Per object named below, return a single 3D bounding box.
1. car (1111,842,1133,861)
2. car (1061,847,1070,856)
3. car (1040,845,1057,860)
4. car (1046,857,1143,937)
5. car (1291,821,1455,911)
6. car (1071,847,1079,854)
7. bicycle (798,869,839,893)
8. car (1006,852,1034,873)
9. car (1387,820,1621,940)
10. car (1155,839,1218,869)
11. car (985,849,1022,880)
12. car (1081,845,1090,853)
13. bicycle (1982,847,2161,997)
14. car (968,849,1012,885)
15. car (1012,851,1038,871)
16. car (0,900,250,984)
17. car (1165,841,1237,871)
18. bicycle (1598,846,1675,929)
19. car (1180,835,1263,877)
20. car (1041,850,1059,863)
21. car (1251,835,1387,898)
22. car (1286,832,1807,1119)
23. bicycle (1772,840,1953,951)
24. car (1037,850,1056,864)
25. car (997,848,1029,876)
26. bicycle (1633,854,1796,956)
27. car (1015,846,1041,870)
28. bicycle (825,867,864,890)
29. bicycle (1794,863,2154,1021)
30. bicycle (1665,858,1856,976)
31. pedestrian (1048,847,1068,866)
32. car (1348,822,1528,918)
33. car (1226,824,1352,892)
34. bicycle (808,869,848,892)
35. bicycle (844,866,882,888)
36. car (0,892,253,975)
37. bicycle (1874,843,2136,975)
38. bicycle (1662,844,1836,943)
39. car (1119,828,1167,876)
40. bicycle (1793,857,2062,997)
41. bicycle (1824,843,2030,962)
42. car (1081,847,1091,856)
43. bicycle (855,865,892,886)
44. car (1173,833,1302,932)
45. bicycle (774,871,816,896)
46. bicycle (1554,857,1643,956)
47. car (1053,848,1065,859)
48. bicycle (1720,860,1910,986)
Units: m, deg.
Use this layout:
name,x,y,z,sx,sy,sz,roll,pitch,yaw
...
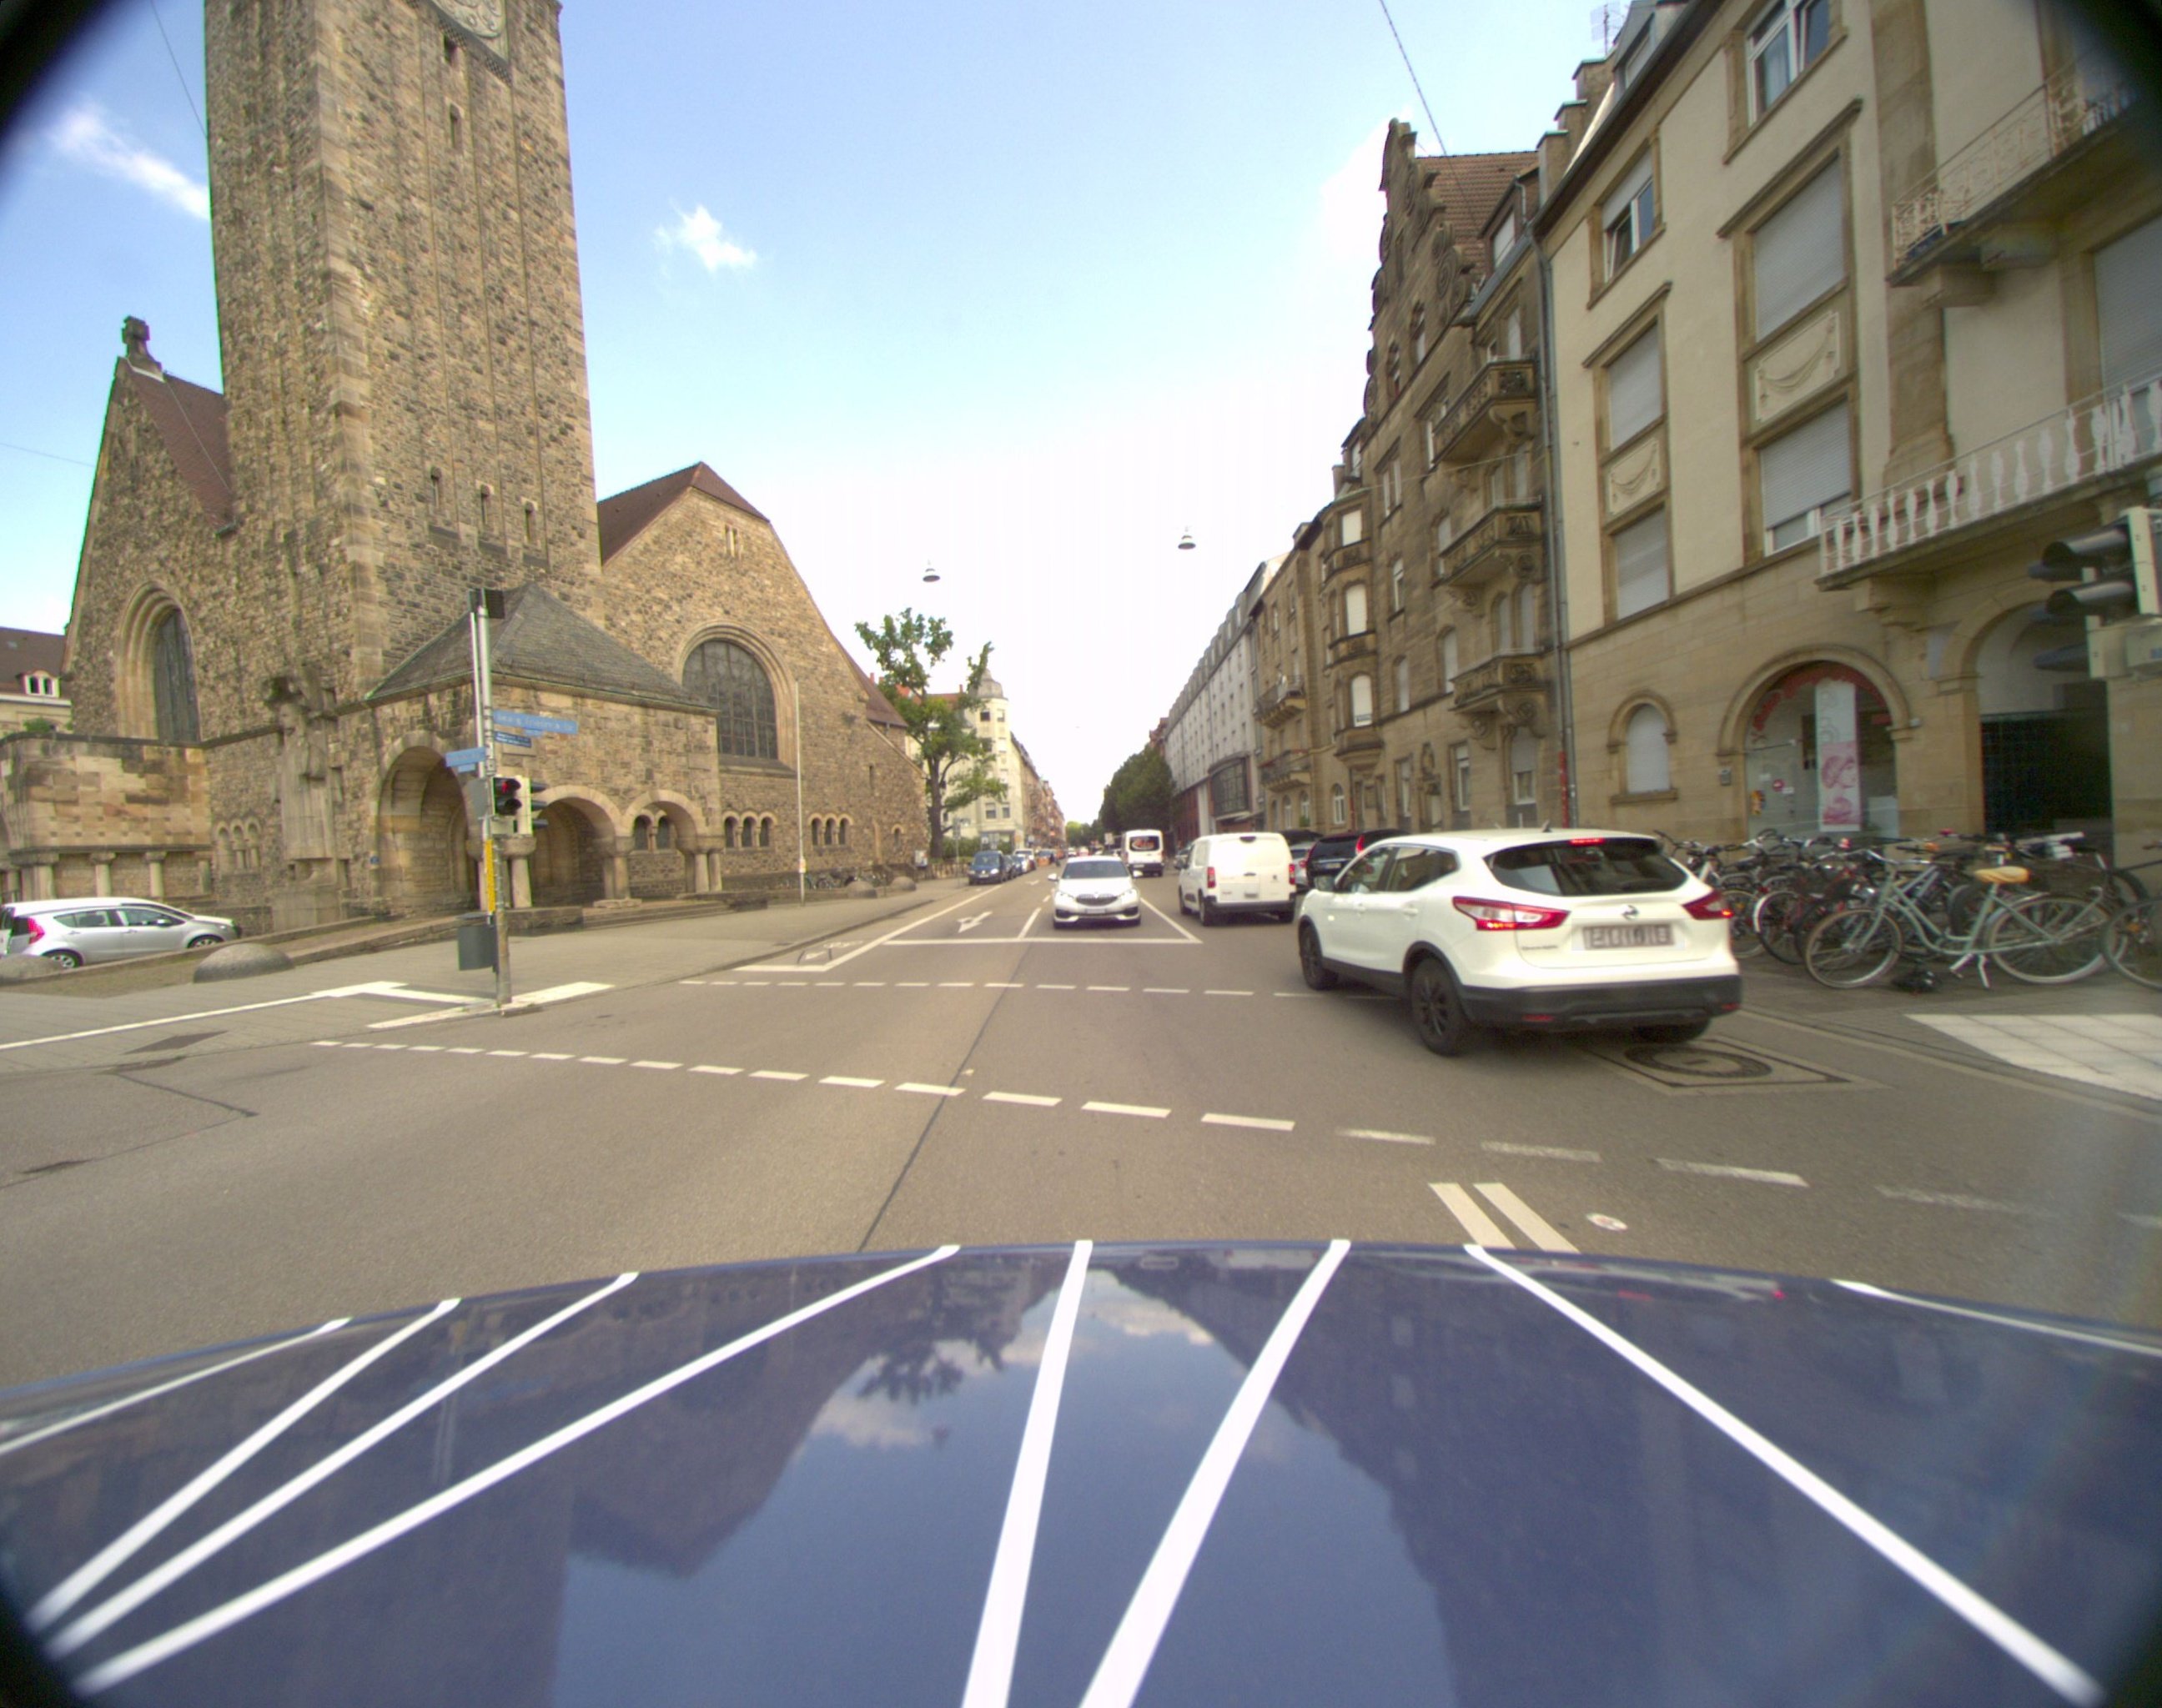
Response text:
name,x,y,z,sx,sy,sz,roll,pitch,yaw
car,3.880,-0.276,72.996,1.891,1.641,3.890,-3,1,2
car,-3.420,-0.503,167.147,1.809,1.756,4.186,-3,1,2
car,-4.258,-0.211,100.447,1.809,1.756,4.186,-3,1,2
car,0.324,0.844,16.910,1.826,1.440,4.386,-2,1,2
car,7.124,0.259,18.405,3.960,1.680,1.799,-7,0,-39
car,-1.492,-0.910,183.313,1.809,1.654,4.186,-3,1,2
bicycle,-12.874,1.328,37.213,1.935,1.106,0.587,0,3,22
car,-4.660,0.631,58.251,1.683,1.438,3.798,-3,1,2
car,7.065,0.369,12.546,4.006,1.448,1.808,-6,1,-37
car,6.965,-0.032,49.924,3.960,1.576,1.727,-6,0,-39
car,-4.781,0.615,47.136,1.683,1.780,4.000,-3,1,2
car,0.932,-1.065,160.519,1.809,1.590,4.186,-3,1,2
bicycle,8.352,0.510,6.019,1.612,1.046,0.481,-5,1,8
car,-4.959,0.651,41.946,1.683,1.780,4.145,-3,1,2
car,-4.672,0.545,63.412,1.683,1.488,3.890,-3,1,2
car,-24.100,2.157,19.246,1.815,1.668,3.643,-5,-1,22
car,6.847,0.115,43.122,3.961,1.465,1.727,-4,1,-39
bicycle,8.405,0.474,11.464,1.908,1.046,0.556,-6,1,-44
car,6.965,0.100,37.466,3.960,1.576,1.727,-7,0,-39
car,-3.755,0.311,91.821,1.809,1.360,4.186,-3,1,2
car,7.109,0.348,22.546,3.960,1.421,1.727,-6,0,-37
car,3.220,0.698,6.359,1.775,1.573,4.020,-2,0,-2
bicycle,8.588,0.445,8.368,1.483,1.046,0.462,-5,1,-2
car,-3.911,0.320,86.262,1.809,1.360,4.186,-3,1,2
car,-4.709,0.509,53.287,1.683,1.780,4.000,-3,1,2
bicycle,7.389,0.580,8.887,1.483,1.046,0.462,-5,1,-2
car,-4.681,0.323,67.823,1.844,1.927,4.186,-3,1,2
bicycle,-12.068,1.253,38.732,1.935,1.106,0.587,0,3,22
bicycle,6.740,0.677,5.834,1.733,1.046,0.531,-5,1,17
bicycle,7.008,0.637,7.870,1.483,1.046,0.462,-5,1,1
pedestrian,-2.320,0.256,75.672,1.316,1.747,1.370,-4,1,-38
car,7.407,0.290,15.609,3.960,1.448,1.727,-7,0,-40
car,6.958,0.120,25.299,3.959,1.857,1.727,-6,1,-33
bicycle,-12.591,1.299,37.872,1.935,1.106,0.587,0,3,22
bicycle,-11.522,1.194,40.191,1.935,1.106,0.587,0,3,22
car,-26.931,2.162,21.463,1.996,1.842,4.312,-4,-1,25
bicycle,8.486,0.499,7.026,1.580,1.046,0.481,-5,1,8
bicycle,8.348,0.480,9.527,1.631,1.046,0.558,-5,1,0
car,3.367,-0.069,42.271,2.081,2.430,5.945,-2,-1,0
bicycle,7.324,0.623,6.626,1.580,1.046,0.481,-5,1,8
bicycle,8.574,0.480,7.730,1.483,1.046,0.462,-5,1,2
car,0.975,-0.536,153.484,1.809,1.590,4.186,-3,1,2
bicycle,-11.176,1.161,40.919,1.935,1.106,0.587,0,3,22
car,3.176,0.548,16.325,1.817,1.765,4.283,-3,0,0
bicycle,-13.447,1.388,35.743,1.935,1.106,0.587,0,3,22
bicycle,6.723,0.647,9.839,1.815,1.046,0.556,-6,1,-45
car,-4.102,-0.172,143.149,1.809,1.901,4.186,-3,1,2
bicycle,7.082,0.649,7.357,1.372,1.046,0.418,-6,1,-1
